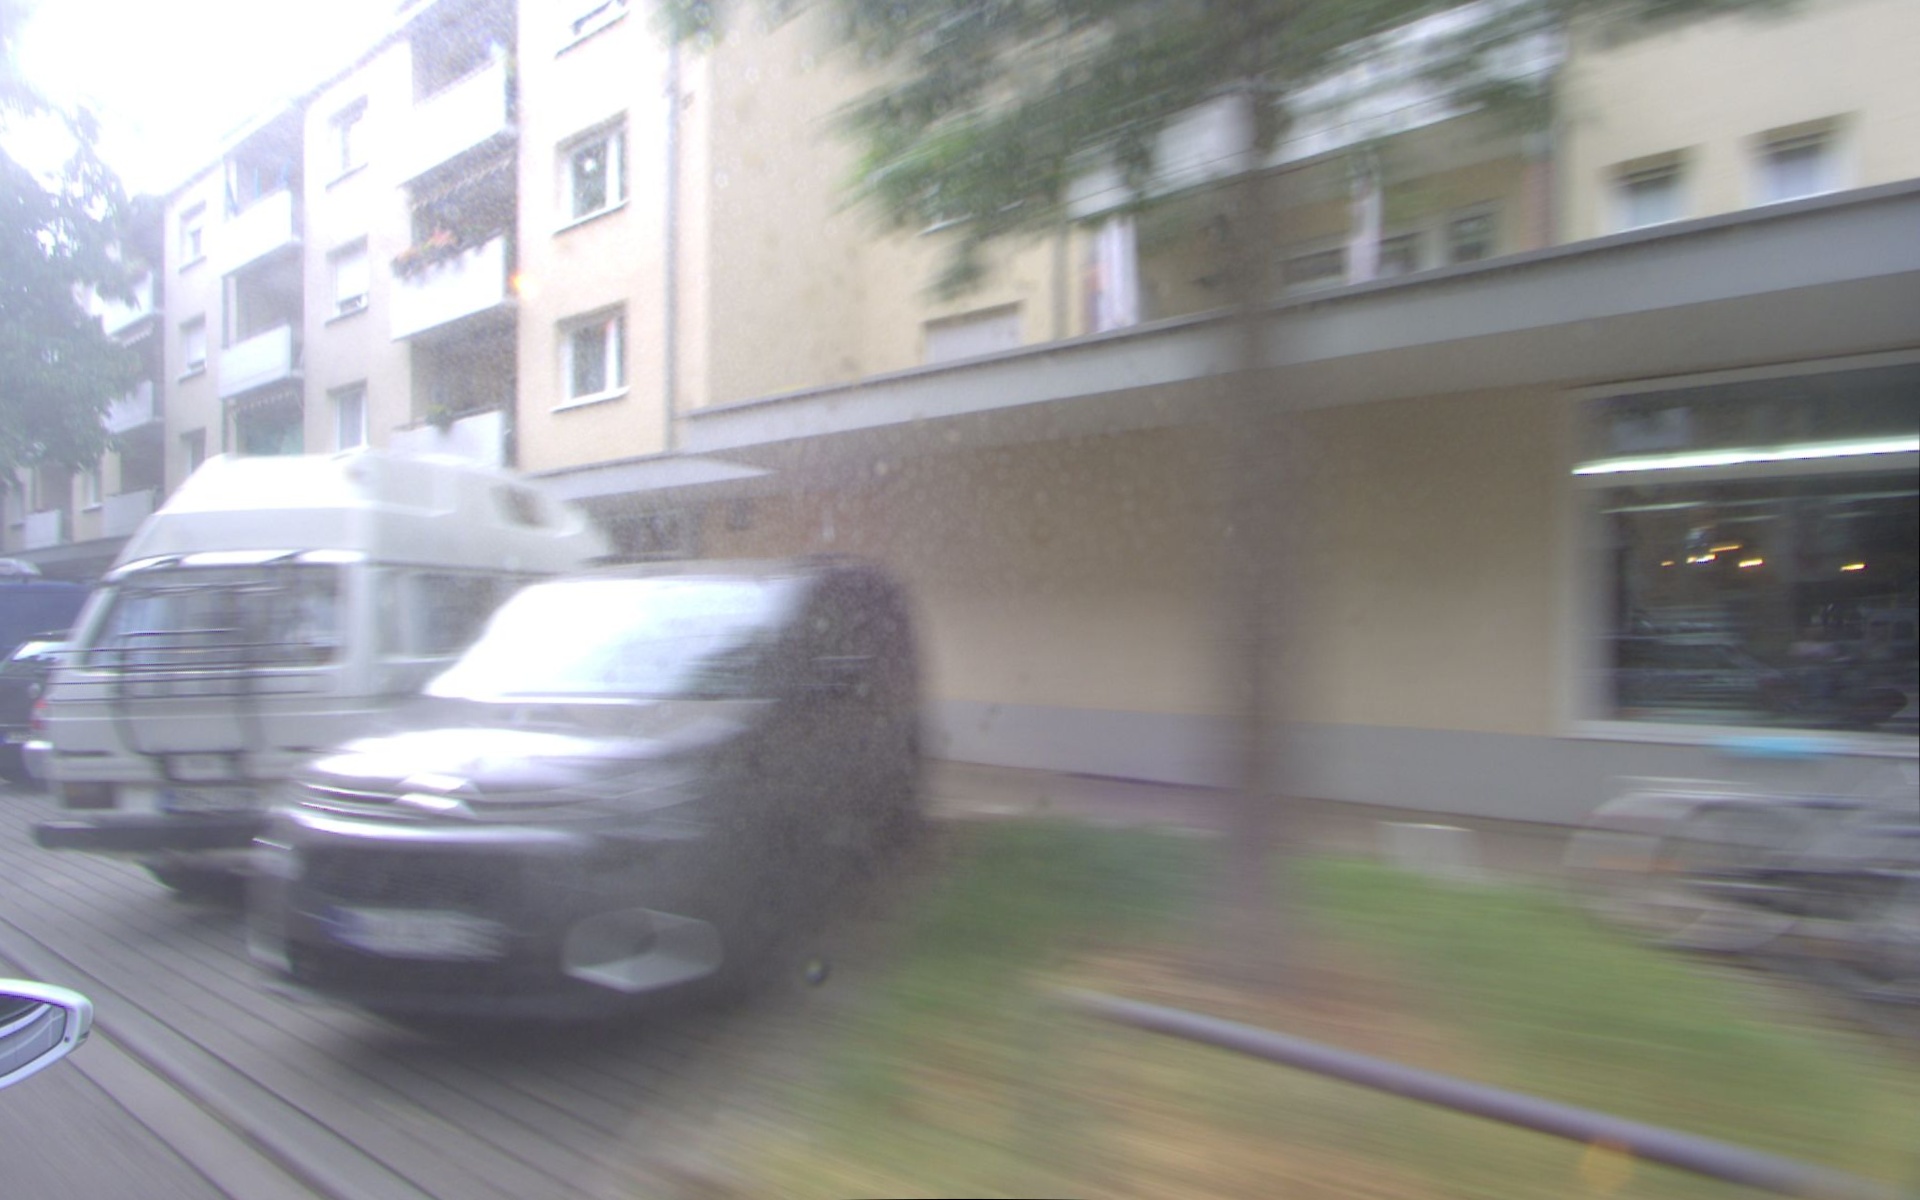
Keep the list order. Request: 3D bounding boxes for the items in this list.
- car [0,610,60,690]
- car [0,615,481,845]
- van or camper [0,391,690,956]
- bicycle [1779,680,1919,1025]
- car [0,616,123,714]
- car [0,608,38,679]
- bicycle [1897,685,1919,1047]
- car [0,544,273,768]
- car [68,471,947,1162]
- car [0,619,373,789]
[{"bbox_3d":[-19.465,0.979,18.795,1.817,1.516,3.367,-1,0,13],"label":"car"},{"bbox_3d":[-6.014,0.918,8.760,1.691,1.437,3.815,0,1,2],"label":"car"},{"bbox_3d":[-3.569,0.381,7.014,1.874,2.629,4.597,0,-1,3],"label":"van or camper"},{"bbox_3d":[4.119,0.902,3.644,1.666,1.189,0.549,-1,-1,14],"label":"bicycle"},{"bbox_3d":[-15.270,0.975,15.239,1.817,1.461,4.113,0,-1,-4],"label":"car"},{"bbox_3d":[-22.088,0.977,20.652,1.938,1.520,4.225,-1,0,8],"label":"car"},{"bbox_3d":[3.936,0.861,2.912,1.696,1.189,0.549,-1,-1,14],"label":"bicycle"},{"bbox_3d":[-10.684,0.515,11.849,2.027,2.226,4.703,0,1,-3],"label":"car"},{"bbox_3d":[-1.415,0.627,5.033,1.875,1.878,4.344,0,-1,11],"label":"car"},{"bbox_3d":[-8.264,0.955,10.742,1.656,1.500,3.668,0,-1,3],"label":"car"}]
